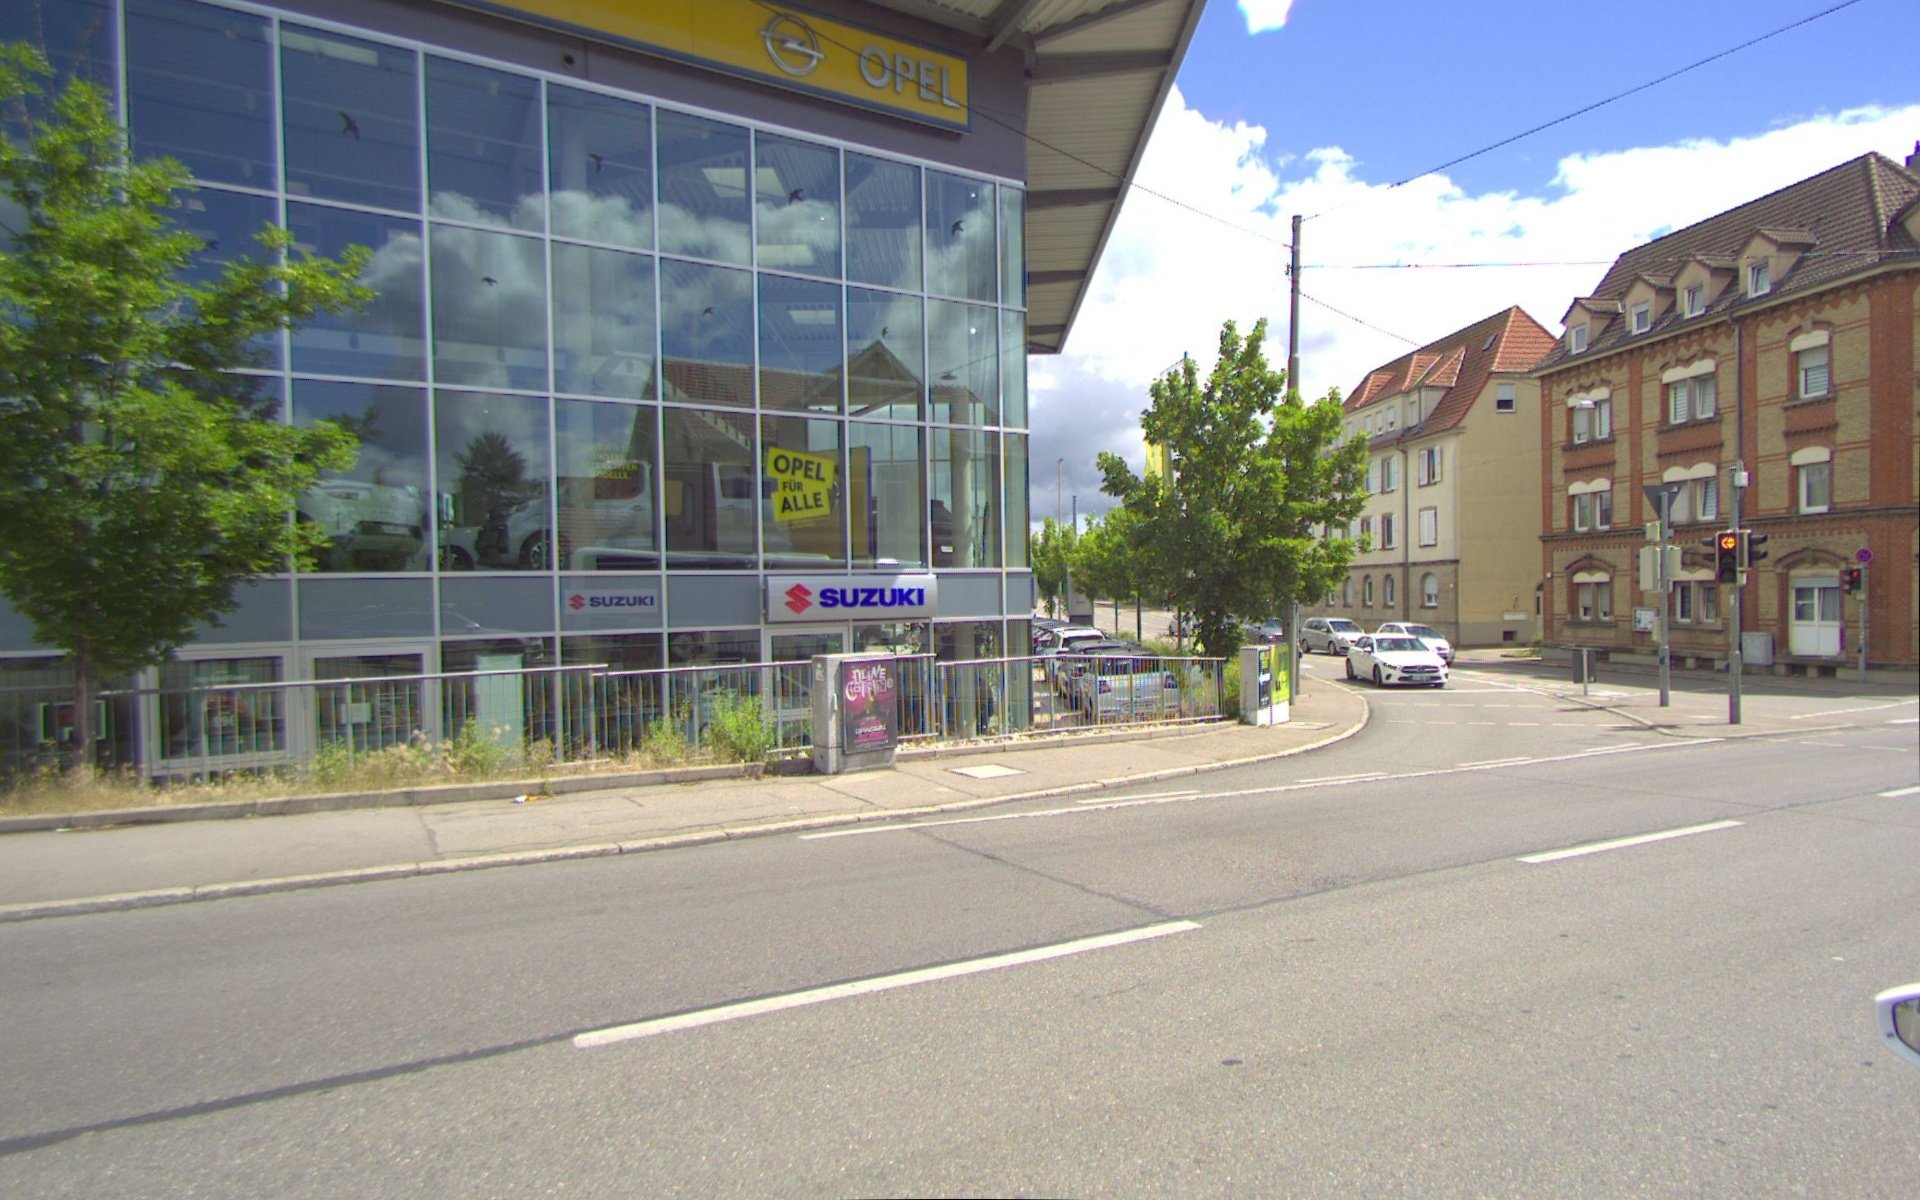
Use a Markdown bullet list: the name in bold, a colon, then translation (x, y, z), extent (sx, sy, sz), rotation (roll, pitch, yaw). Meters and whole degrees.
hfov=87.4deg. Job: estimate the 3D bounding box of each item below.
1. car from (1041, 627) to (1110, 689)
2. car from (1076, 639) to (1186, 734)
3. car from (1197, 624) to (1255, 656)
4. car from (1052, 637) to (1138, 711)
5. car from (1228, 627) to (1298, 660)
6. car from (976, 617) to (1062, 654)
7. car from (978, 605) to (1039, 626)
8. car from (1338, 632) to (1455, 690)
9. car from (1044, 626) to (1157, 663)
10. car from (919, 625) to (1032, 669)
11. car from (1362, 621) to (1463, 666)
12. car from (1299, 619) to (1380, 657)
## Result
- **car**: translation (3.278, 1.634, 29.082), extent (1.487, 1.596, 3.414), rotation (1, -1, -2)
- **car**: translation (3.393, 1.689, 20.540), extent (1.720, 1.596, 3.687), rotation (2, -1, 2)
- **car**: translation (14.828, 2.199, 56.205), extent (1.961, 1.607, 4.345), rotation (1, 0, -2)
- **car**: translation (3.229, 1.754, 24.689), extent (1.487, 1.543, 3.792), rotation (1, -1, -2)
- **car**: translation (15.331, 2.187, 51.008), extent (1.963, 1.539, 3.996), rotation (1, -1, -7)
- **car**: translation (2.646, 1.587, 45.857), extent (1.974, 1.599, 4.476), rotation (1, -1, -26)
- **car**: translation (3.218, 1.044, 67.112), extent (3.921, 1.311, 1.818), rotation (1, -1, 0)
- **car**: translation (12.367, 1.685, 28.763), extent (1.825, 1.466, 4.394), rotation (1, -1, 6)
- **car**: translation (5.164, 1.634, 37.199), extent (3.921, 1.202, 1.818), rotation (1, -1, 0)
- **car**: translation (0.586, 1.717, 37.211), extent (3.919, 1.478, 1.605), rotation (1, -1, 15)
- **car**: translation (17.061, 1.609, 38.077), extent (1.670, 1.517, 3.995), rotation (1, -1, -7)
- **car**: translation (16.734, 1.643, 44.502), extent (1.715, 1.539, 3.996), rotation (1, -1, -7)
